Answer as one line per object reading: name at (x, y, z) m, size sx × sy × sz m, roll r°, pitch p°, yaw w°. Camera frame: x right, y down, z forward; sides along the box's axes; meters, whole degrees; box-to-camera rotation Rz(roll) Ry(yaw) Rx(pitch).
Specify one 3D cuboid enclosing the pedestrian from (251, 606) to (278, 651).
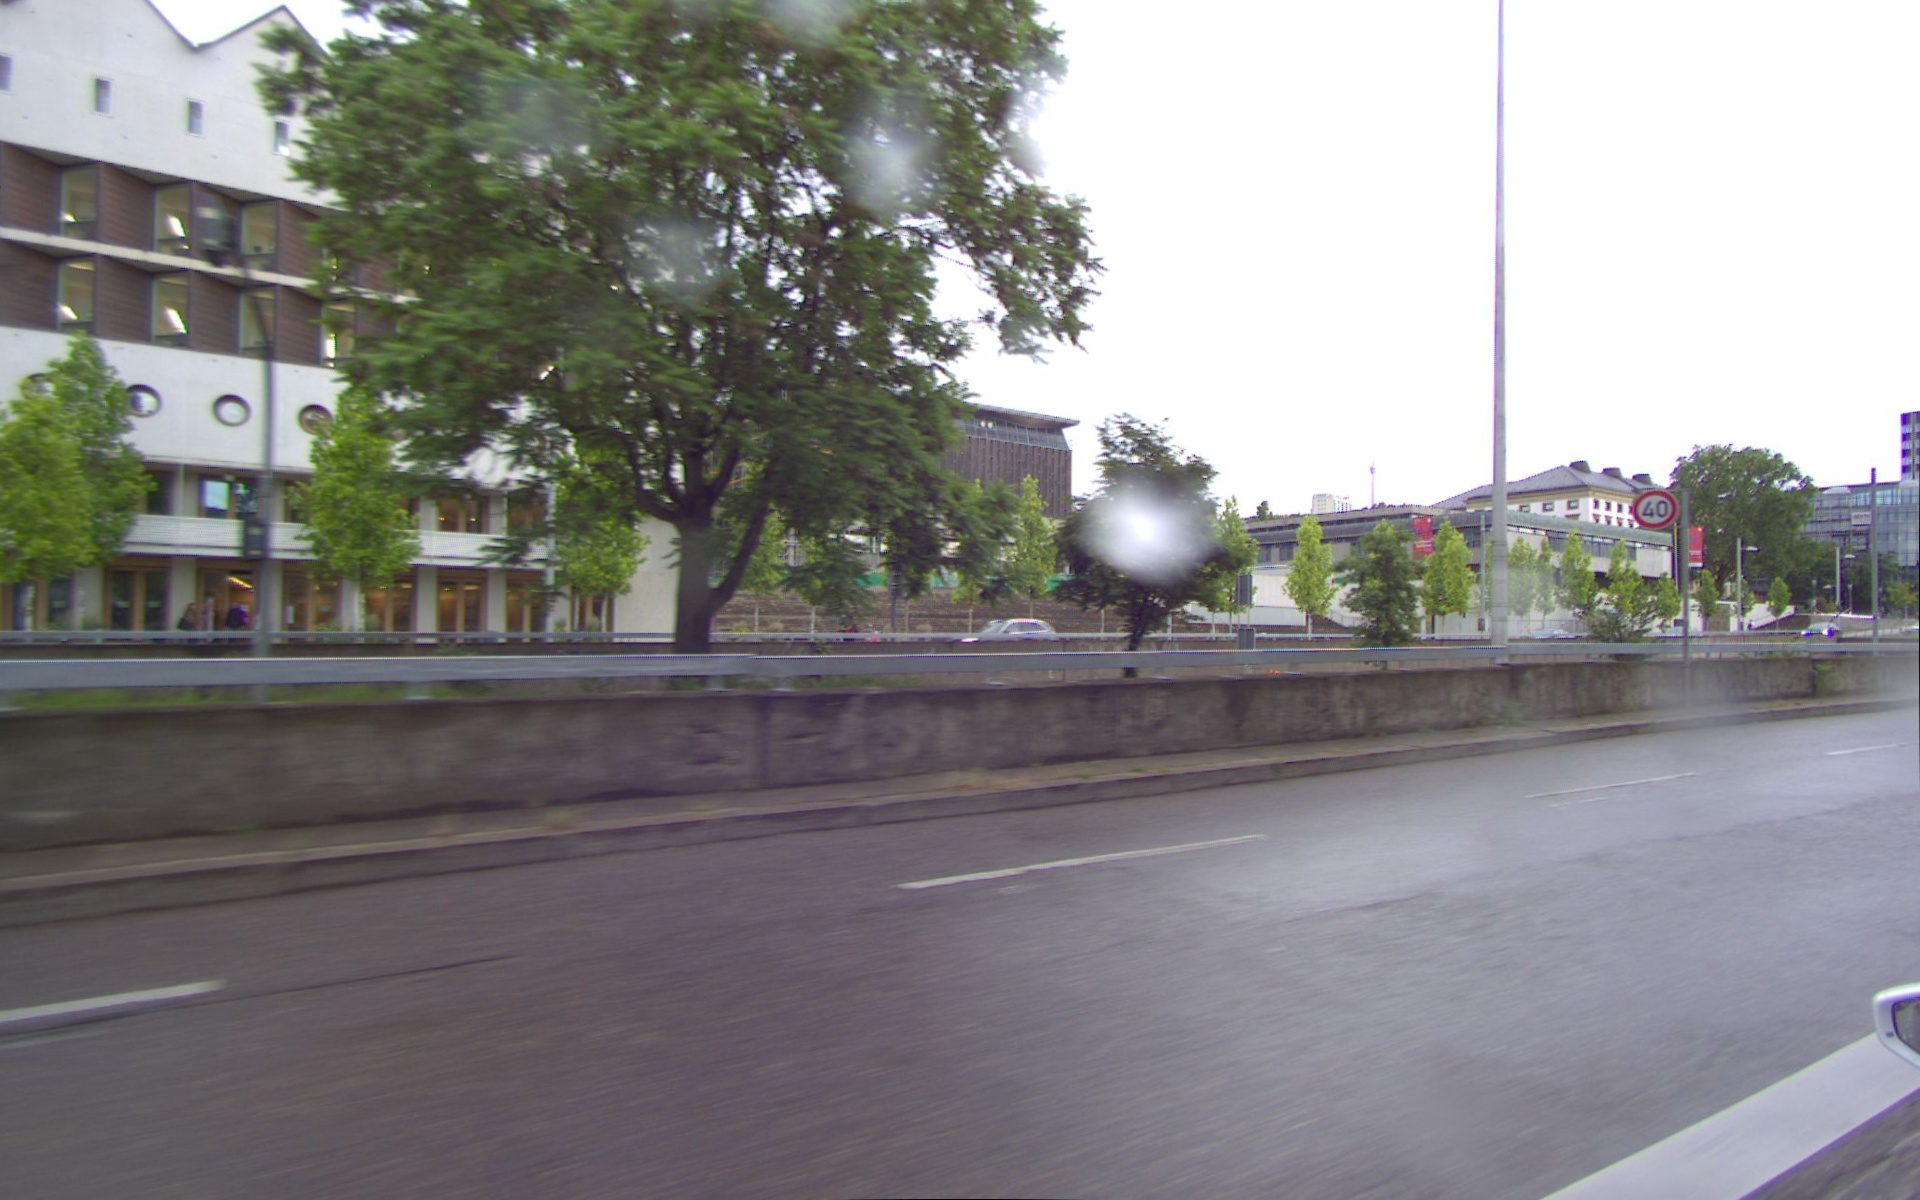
pedestrian at (-26.325, 1.077, 38.053) m, size 0.692 × 1.649 × 0.735 m, roll 2°, pitch 0°, yaw -26°

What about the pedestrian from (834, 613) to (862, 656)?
pedestrian at (-5.119, 1.567, 45.924) m, size 0.822 × 1.891 × 1.077 m, roll 2°, pitch 0°, yaw -39°

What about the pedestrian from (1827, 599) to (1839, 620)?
pedestrian at (89.738, 0.985, 103.289) m, size 0.718 × 2.120 × 0.763 m, roll -5°, pitch 3°, yaw -32°

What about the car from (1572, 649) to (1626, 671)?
car at (36.476, 3.400, 57.342) m, size 3.018 × 1.144 × 1.479 m, roll 2°, pitch -1°, yaw -33°

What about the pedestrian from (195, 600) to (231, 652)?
pedestrian at (-27.599, 0.968, 37.127) m, size 0.687 × 1.883 × 0.741 m, roll 2°, pitch 0°, yaw 11°

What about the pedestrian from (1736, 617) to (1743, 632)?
pedestrian at (73.651, 2.336, 94.938) m, size 0.462 × 1.401 × 0.573 m, roll 1°, pitch 0°, yaw 43°

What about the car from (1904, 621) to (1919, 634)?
car at (103.760, 3.008, 108.697) m, size 3.128 × 1.271 × 1.401 m, roll 2°, pitch 0°, yaw -30°

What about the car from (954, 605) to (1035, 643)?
car at (1.275, 0.891, 37.062) m, size 2.796 × 1.295 × 1.285 m, roll 2°, pitch -1°, yaw -37°

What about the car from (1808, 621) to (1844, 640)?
car at (71.821, 2.548, 83.320) m, size 2.930 × 1.459 × 1.456 m, roll 2°, pitch 0°, yaw -32°

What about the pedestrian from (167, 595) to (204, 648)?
pedestrian at (-27.976, 0.782, 36.284) m, size 0.687 × 1.883 × 0.741 m, roll 2°, pitch 0°, yaw 11°

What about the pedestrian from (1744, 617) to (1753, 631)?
pedestrian at (79.479, 2.415, 101.221) m, size 0.626 × 1.441 × 0.489 m, roll 2°, pitch 0°, yaw -33°
